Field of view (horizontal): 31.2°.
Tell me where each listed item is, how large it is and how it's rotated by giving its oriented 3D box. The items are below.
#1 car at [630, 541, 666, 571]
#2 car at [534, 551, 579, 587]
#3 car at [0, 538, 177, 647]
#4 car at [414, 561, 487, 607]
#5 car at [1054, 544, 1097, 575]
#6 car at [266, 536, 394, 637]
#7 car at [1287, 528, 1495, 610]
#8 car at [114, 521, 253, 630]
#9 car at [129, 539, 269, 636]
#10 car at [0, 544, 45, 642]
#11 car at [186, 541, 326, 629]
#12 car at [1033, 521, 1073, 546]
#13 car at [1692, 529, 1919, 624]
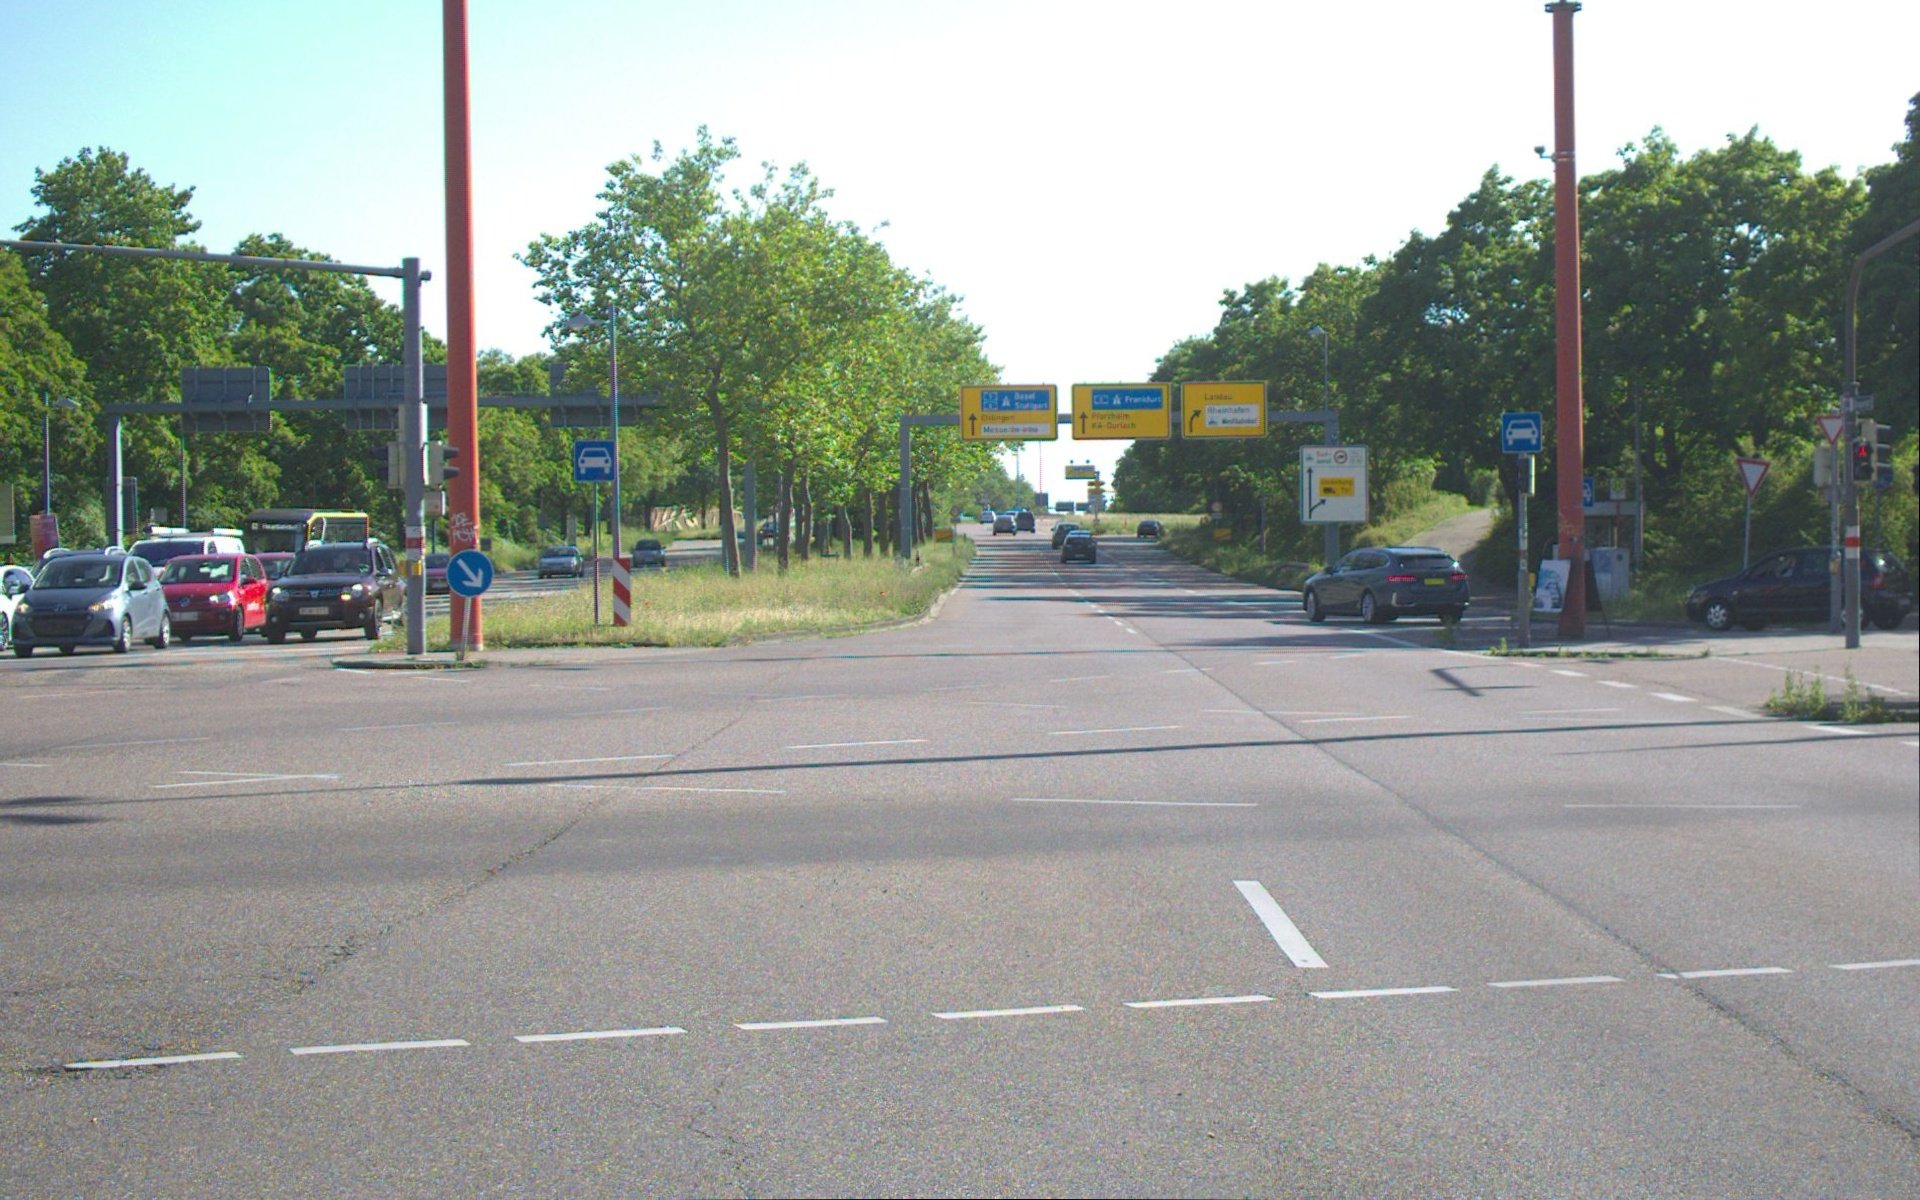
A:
[{"bbox_3d":[-16.753,-2.352,184.529,1.876,1.568,4.121,-1,1,-5],"label":"car"},{"bbox_3d":[-18.458,-1.428,157.398,1.876,1.568,3.948,-1,1,-5],"label":"car"},{"bbox_3d":[-13.251,-0.137,52.173,1.993,1.568,4.121,-1,1,-3],"label":"car"},{"bbox_3d":[-16.552,-0.529,111.741,1.821,1.449,3.656,-1,1,0],"label":"car"},{"bbox_3d":[5.949,-2.116,177.250,2.159,1.568,4.281,-1,1,1],"label":"car"},{"bbox_3d":[-10.245,-0.250,56.154,1.876,1.568,4.122,-1,1,-8],"label":"car"},{"bbox_3d":[8.548,-0.633,68.632,2.158,1.568,4.584,-1,1,-22],"label":"car"},{"bbox_3d":[-16.112,-0.534,71.515,2.062,2.185,4.379,-1,1,-2],"label":"car"},{"bbox_3d":[-12.896,-0.241,58.475,1.993,1.568,4.122,-1,1,-8],"label":"car"},{"bbox_3d":[-16.486,-0.123,57.043,1.993,1.568,4.122,-2,1,-8],"label":"car"},{"bbox_3d":[-13.114,-0.301,64.254,1.993,1.568,4.121,-1,1,-4],"label":"car"},{"bbox_3d":[5.956,-4.267,220.946,2.158,1.568,4.281,-1,1,-4],"label":"car"},{"bbox_3d":[15.025,-0.414,59.087,4.275,1.568,2.162,0,1,33],"label":"car"}]
